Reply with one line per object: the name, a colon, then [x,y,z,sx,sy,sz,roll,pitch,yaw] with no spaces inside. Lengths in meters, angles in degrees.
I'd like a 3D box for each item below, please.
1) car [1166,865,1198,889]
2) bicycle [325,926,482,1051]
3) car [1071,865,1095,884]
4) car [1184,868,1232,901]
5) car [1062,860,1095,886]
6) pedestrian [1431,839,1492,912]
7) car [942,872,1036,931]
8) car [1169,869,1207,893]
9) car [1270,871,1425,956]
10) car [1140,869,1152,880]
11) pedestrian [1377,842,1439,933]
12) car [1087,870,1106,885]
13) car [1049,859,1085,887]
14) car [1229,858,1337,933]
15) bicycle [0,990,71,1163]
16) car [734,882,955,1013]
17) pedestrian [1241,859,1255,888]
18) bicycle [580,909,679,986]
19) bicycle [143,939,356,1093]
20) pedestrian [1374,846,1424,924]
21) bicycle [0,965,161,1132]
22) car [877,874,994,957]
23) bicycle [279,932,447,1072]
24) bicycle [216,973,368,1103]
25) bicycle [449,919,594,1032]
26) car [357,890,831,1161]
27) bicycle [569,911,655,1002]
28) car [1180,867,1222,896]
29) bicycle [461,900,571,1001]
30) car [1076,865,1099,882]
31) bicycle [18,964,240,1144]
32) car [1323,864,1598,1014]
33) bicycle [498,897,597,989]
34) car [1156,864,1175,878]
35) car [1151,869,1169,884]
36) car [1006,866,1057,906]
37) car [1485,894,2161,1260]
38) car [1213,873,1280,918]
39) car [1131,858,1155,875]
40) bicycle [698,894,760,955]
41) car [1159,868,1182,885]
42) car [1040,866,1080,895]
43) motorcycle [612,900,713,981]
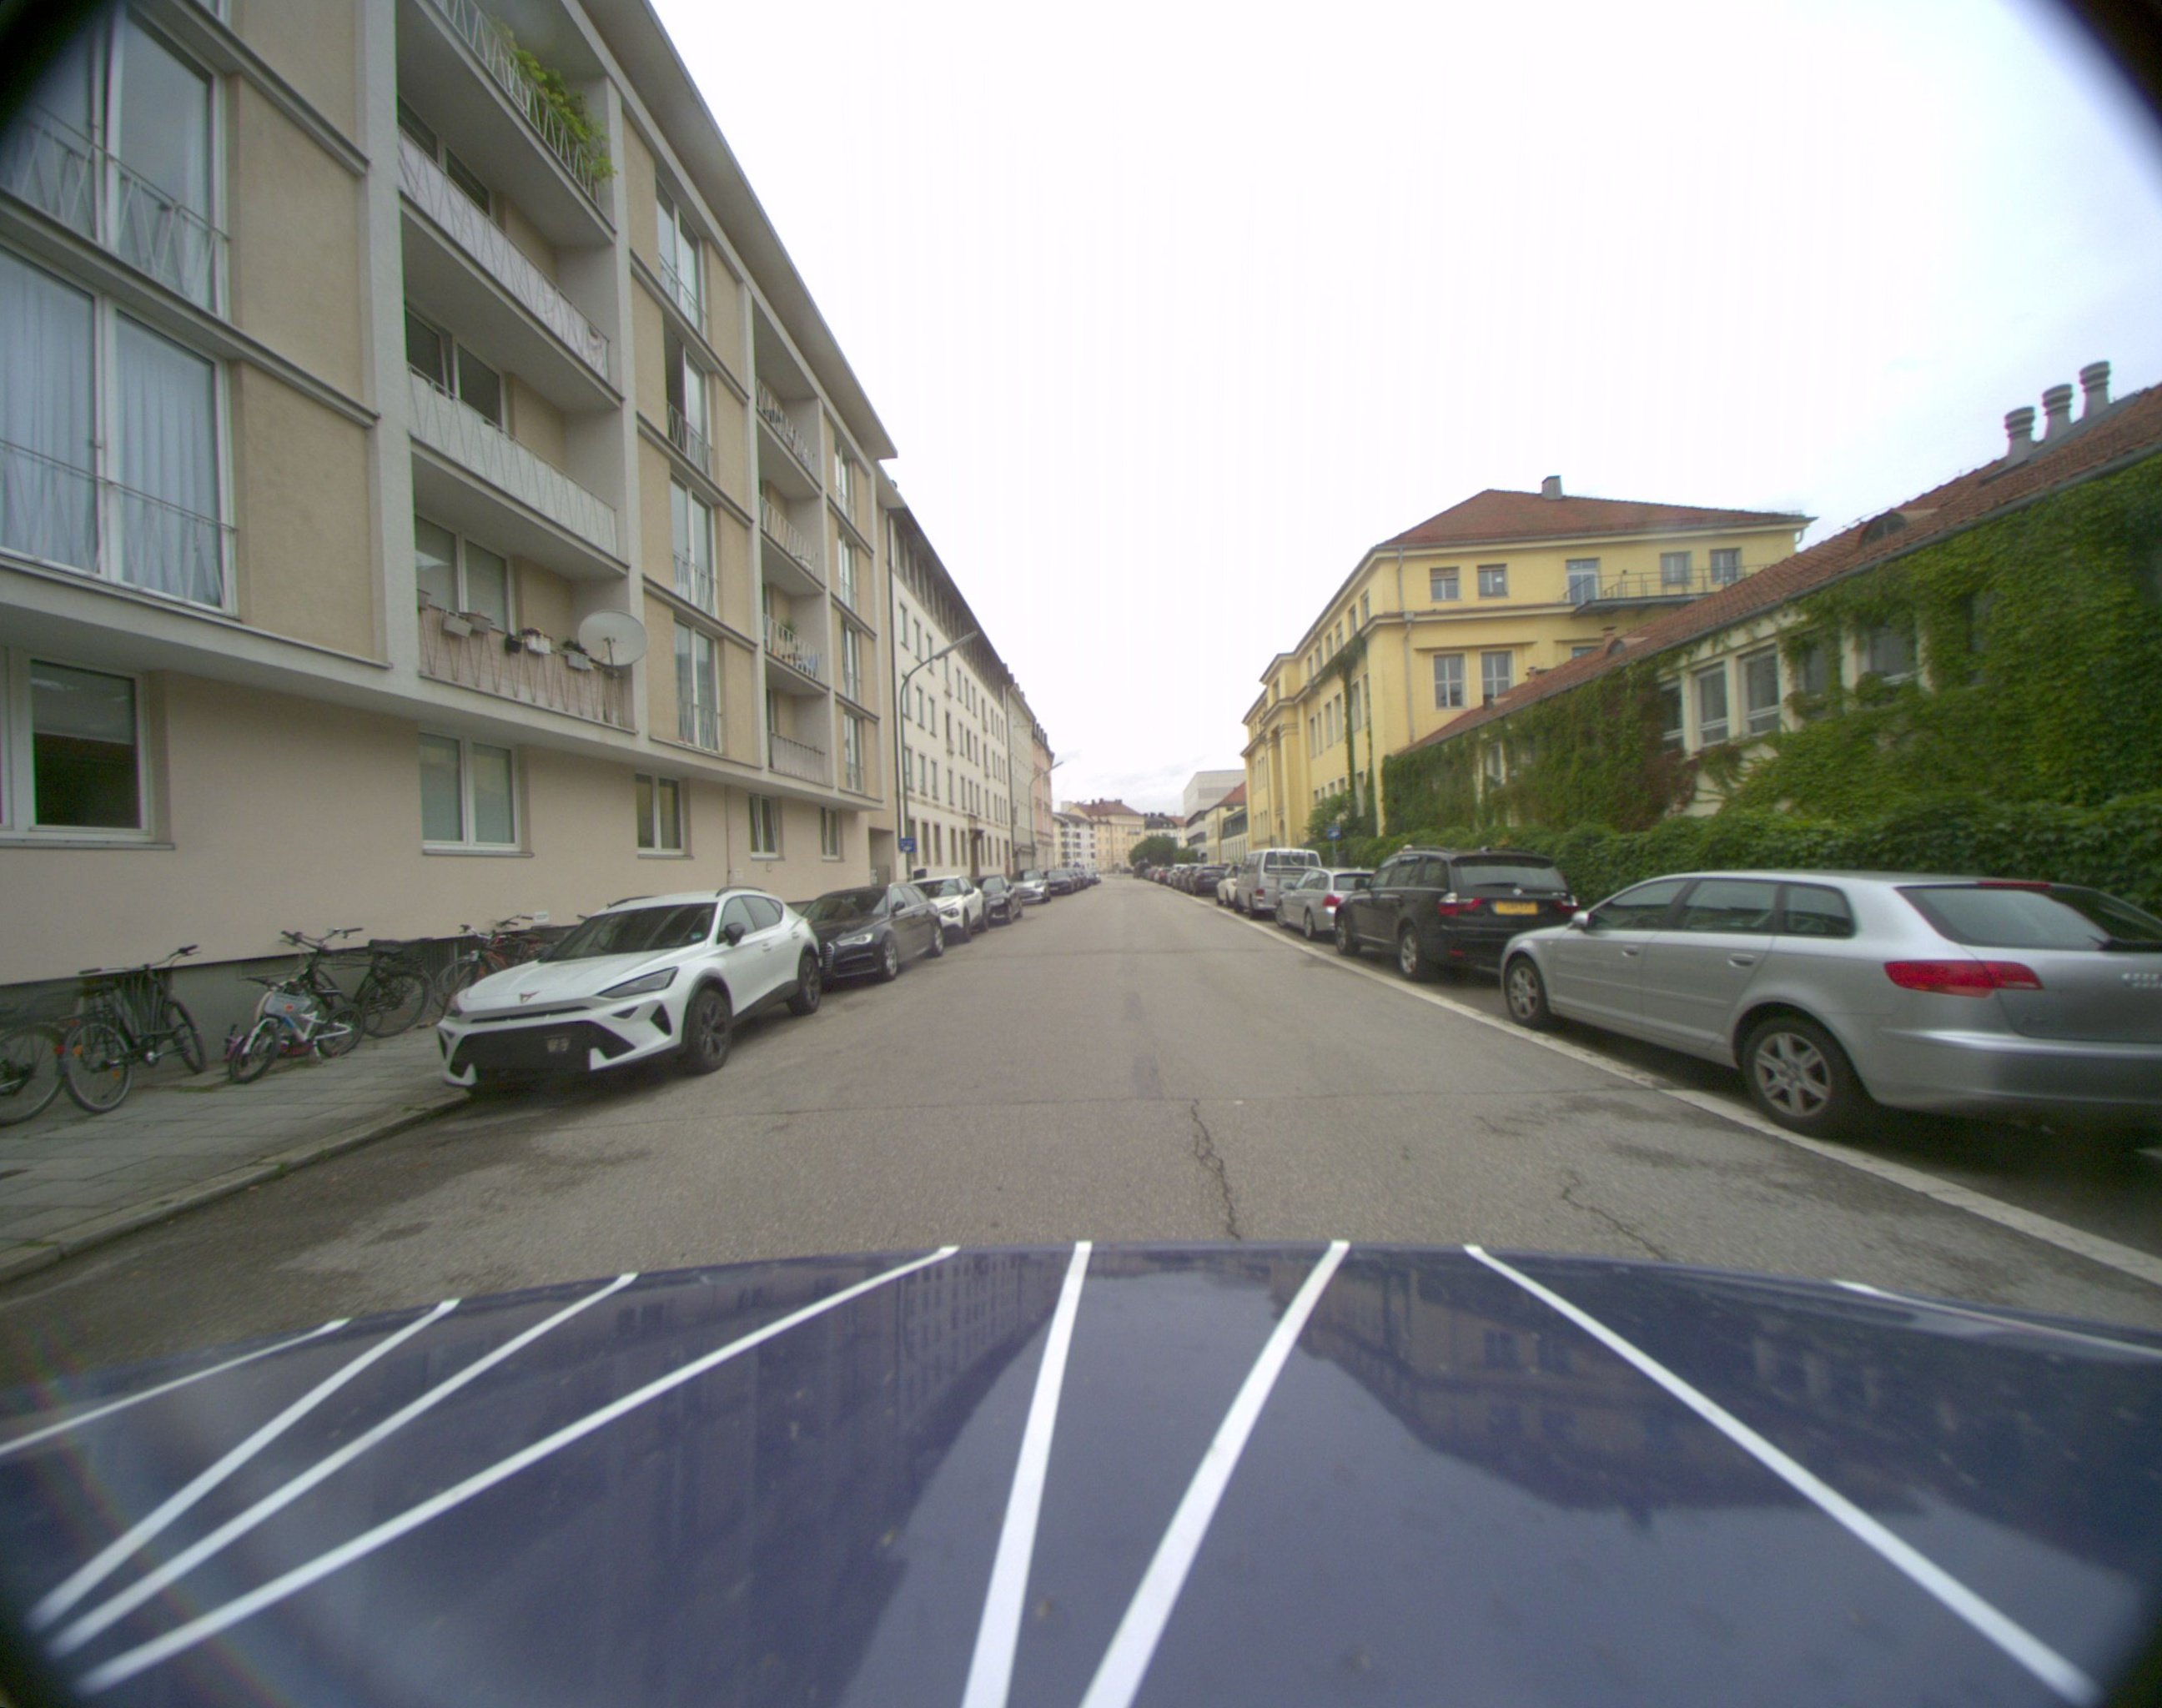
car: [7.290,1.627,55.385,1.786,1.631,4.301,1,-1,1]
bicycle: [-7.851,1.513,8.884,0.447,1.195,1.395,1,1,9]
car: [0.222,1.781,67.627,1.768,1.531,4.002,-5,-1,4]
car: [6.043,1.425,36.624,1.721,1.472,4.221,2,-1,2]
car: [-0.142,1.302,53.106,1.831,1.572,4.493,-4,-1,5]
pedestrian: [8.087,0.457,16.201,0.845,1.485,0.872,-2,0,4]
car: [-2.569,1.311,22.386,1.831,1.373,4.493,-5,-1,4]
car: [6.625,1.649,47.311,1.777,1.400,4.602,1,-1,1]
car: [5.253,1.094,15.656,1.808,1.369,4.492,2,0,3]
car: [9.329,2.893,109.150,1.673,1.508,3.949,-1,-1,3]
pedestrian: [6.559,0.656,15.298,0.845,1.744,0.872,-2,0,4]
car: [1.858,2.825,90.469,2.001,1.563,4.493,-5,-1,3]
car: [-0.844,1.178,48.419,1.831,1.572,4.493,-4,-1,4]
car: [5.458,1.049,21.177,1.897,1.787,4.882,2,-1,3]
bicycle: [-7.431,1.527,4.778,0.392,1.095,1.346,1,1,-2]
car: [-3.578,1.349,12.549,1.776,1.420,4.695,-7,-1,3]
pedestrian: [10.833,1.275,49.372,0.776,1.813,0.782,-2,0,7]
bicycle: [-7.402,1.521,12.487,1.342,1.195,0.393,1,1,-11]
bicycle: [-8.079,1.523,7.466,0.447,1.195,1.395,1,1,9]
pedestrian: [6.946,0.660,16.610,0.684,1.642,0.872,-2,0,2]
bicycle: [-8.197,1.518,5.916,0.370,1.095,1.347,1,1,4]
car: [-3.263,1.338,17.828,1.706,1.460,4.120,-7,-1,1]
bicycle: [-7.422,1.486,7.921,0.413,1.195,1.284,1,1,9]
bicycle: [-7.196,1.637,6.994,0.448,0.889,1.196,1,1,-18]
bicycle: [-7.169,1.514,9.823,0.397,1.195,1.569,1,1,18]
car: [-3.997,1.257,7.303,1.780,1.513,4.304,-7,-1,-3]
bicycle: [-7.083,1.513,11.530,0.448,1.195,1.370,1,1,1]
car: [6.532,1.491,41.685,1.773,1.494,4.275,0,-1,3]
bicycle: [-7.617,1.267,10.307,0.418,1.195,1.285,1,1,7]
car: [0.669,1.842,73.400,1.724,1.457,4.194,-5,-1,5]
bicycle: [-7.591,1.539,6.136,0.396,1.095,1.300,1,1,-13]
car: [4.853,0.955,10.539,1.706,1.597,4.492,1,-1,2]
bicycle: [-7.899,1.285,11.313,0.393,1.195,1.343,1,1,8]
car: [8.665,1.745,78.205,1.816,1.389,4.021,0,-1,3]
car: [8.654,2.503,83.783,1.773,1.545,4.211,0,-1,3]
car: [-2.138,1.368,33.669,1.618,1.507,3.381,-6,-1,4]
car: [4.639,1.048,5.159,1.711,1.357,4.002,2,-1,1]
car: [5.685,1.387,26.410,1.670,1.401,3.560,0,-1,2]
car: [9.786,1.974,120.564,2.847,2.536,6.892,-2,-1,-3]
bicycle: [-7.458,1.478,16.166,0.515,1.150,1.601,-1,0,2]
car: [7.671,1.894,65.410,1.738,1.430,3.781,0,-1,3]
car: [-1.130,1.466,43.343,1.878,1.439,4.701,-4,-1,2]
motorcycle: [-7.591,1.526,13.902,0.637,1.263,2.041,-1,0,2]
